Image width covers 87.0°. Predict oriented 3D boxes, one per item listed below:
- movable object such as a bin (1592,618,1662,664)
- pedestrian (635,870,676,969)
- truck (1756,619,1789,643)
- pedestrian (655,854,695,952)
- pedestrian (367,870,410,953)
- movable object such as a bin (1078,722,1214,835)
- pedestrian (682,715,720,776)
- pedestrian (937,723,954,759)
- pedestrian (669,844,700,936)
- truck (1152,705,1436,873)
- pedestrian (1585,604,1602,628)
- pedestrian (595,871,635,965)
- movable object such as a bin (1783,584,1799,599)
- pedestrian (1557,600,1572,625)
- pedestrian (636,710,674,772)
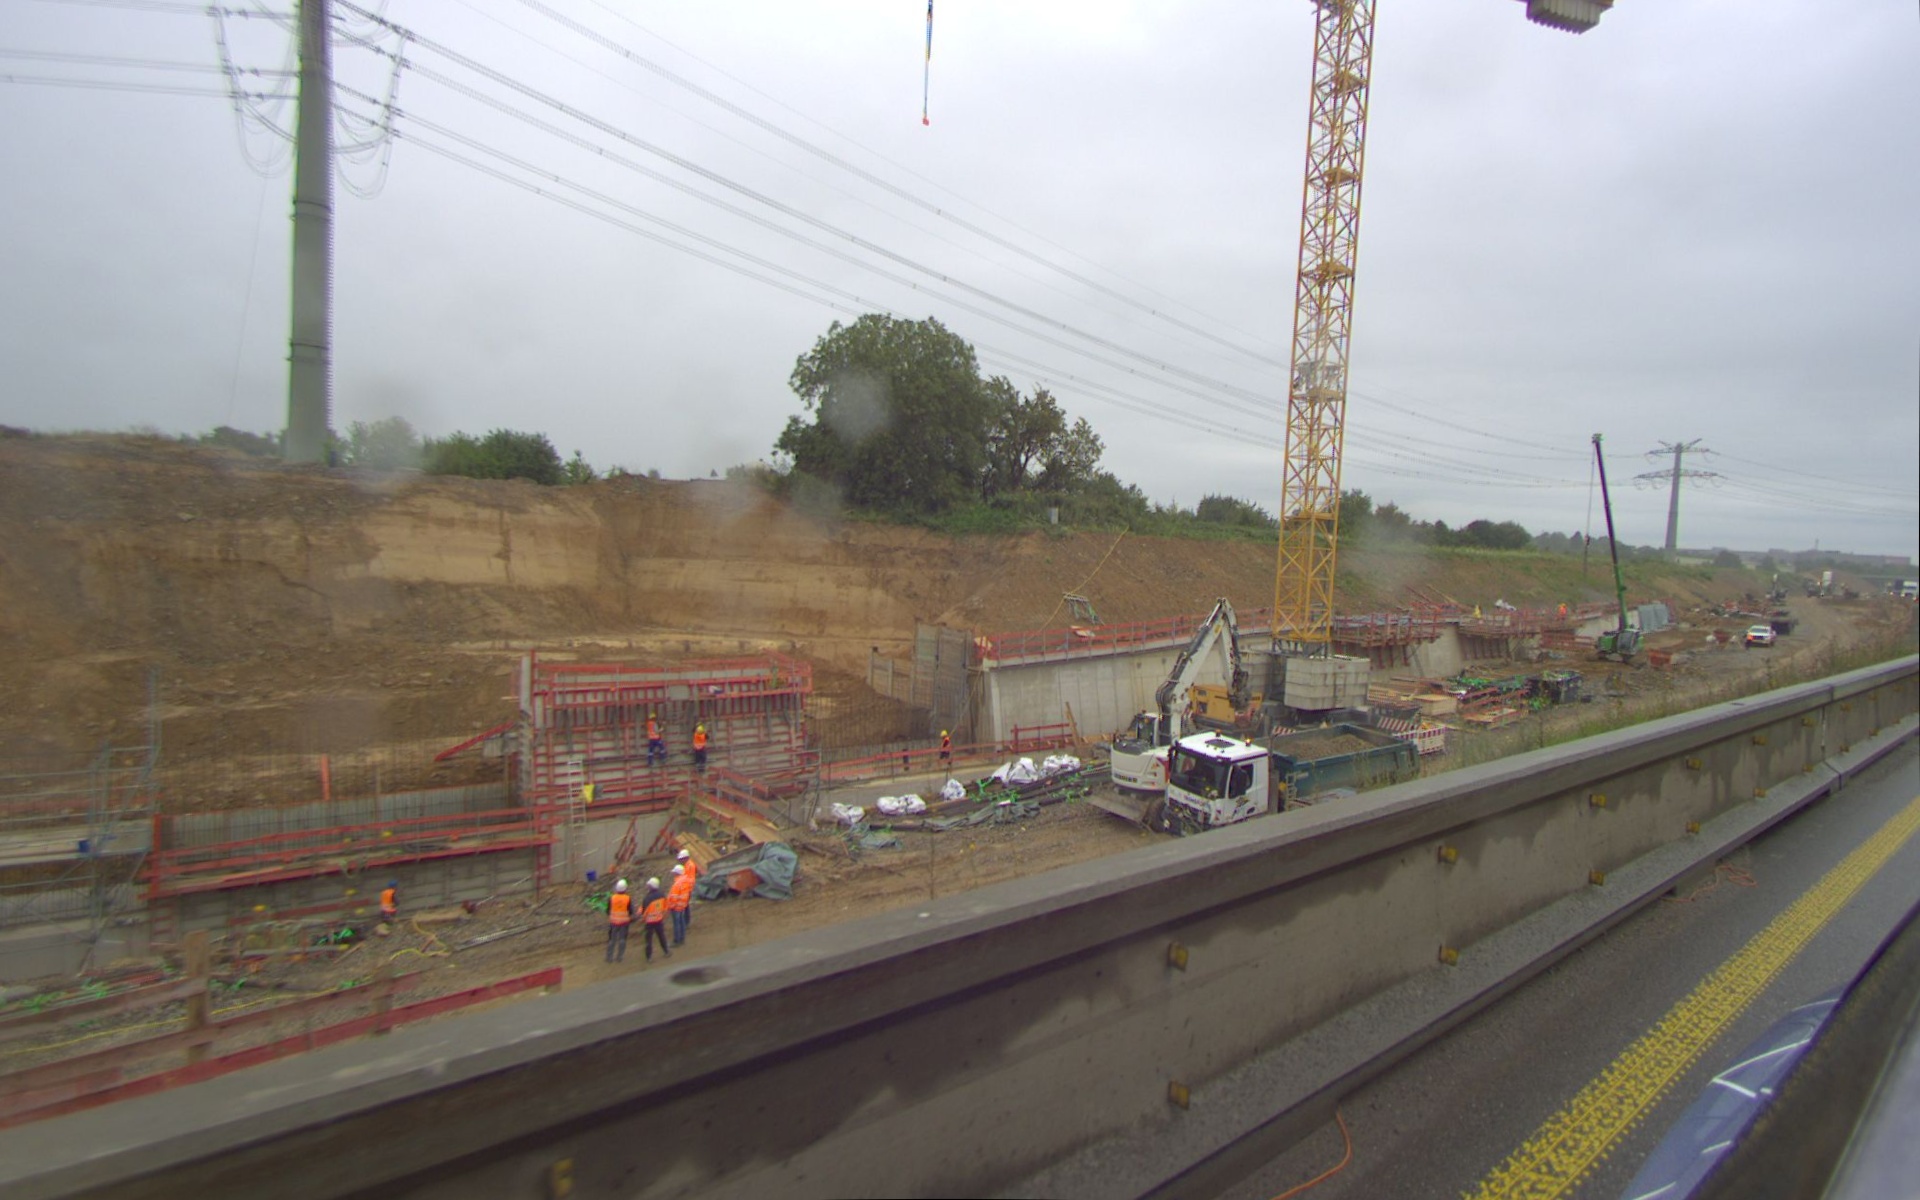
[{"bbox_3d":[52.536,3.150,79.638,3.794,2.836,4.783,2,7,44],"label":"movable object such as a bin"},{"bbox_3d":[-6.728,7.041,22.357,0.721,1.893,0.575,-1,1,-34],"label":"pedestrian"},{"bbox_3d":[74.544,2.794,92.822,1.763,1.894,5.693,3,3,45],"label":"truck"},{"bbox_3d":[-6.527,6.925,23.181,0.568,1.968,0.730,0,1,21],"label":"pedestrian"},{"bbox_3d":[-15.988,8.675,28.305,0.889,2.027,0.897,-1,-9,-37],"label":"pedestrian"},{"bbox_3d":[5.926,5.585,32.318,2.917,2.772,3.155,-1,1,-40],"label":"movable object such as a bin"},{"bbox_3d":[-9.210,5.163,36.002,0.882,2.027,0.904,-1,-9,-36],"label":"pedestrian"},{"bbox_3d":[-0.605,5.879,42.219,0.392,1.455,0.424,-1,-8,-38],"label":"pedestrian"},{"bbox_3d":[-6.567,6.906,24.134,0.564,1.968,0.736,0,1,-3],"label":"pedestrian"},{"bbox_3d":[9.970,5.302,29.834,8.768,3.547,2.712,-1,1,-29],"label":"truck"},{"bbox_3d":[60.580,1.525,96.762,0.989,2.260,0.916,-2,-3,-41],"label":"pedestrian"},{"bbox_3d":[-7.653,7.046,22.456,0.720,1.893,0.576,0,1,-4],"label":"pedestrian"},{"bbox_3d":[154.162,-1.616,187.726,2.244,2.753,3.940,0,1,42],"label":"movable object such as a bin"},{"bbox_3d":[56.487,1.196,94.581,0.914,2.275,0.991,-5,-3,42],"label":"pedestrian"},{"bbox_3d":[-10.558,4.877,35.013,0.882,2.027,0.904,-1,-9,-36],"label":"pedestrian"}]
